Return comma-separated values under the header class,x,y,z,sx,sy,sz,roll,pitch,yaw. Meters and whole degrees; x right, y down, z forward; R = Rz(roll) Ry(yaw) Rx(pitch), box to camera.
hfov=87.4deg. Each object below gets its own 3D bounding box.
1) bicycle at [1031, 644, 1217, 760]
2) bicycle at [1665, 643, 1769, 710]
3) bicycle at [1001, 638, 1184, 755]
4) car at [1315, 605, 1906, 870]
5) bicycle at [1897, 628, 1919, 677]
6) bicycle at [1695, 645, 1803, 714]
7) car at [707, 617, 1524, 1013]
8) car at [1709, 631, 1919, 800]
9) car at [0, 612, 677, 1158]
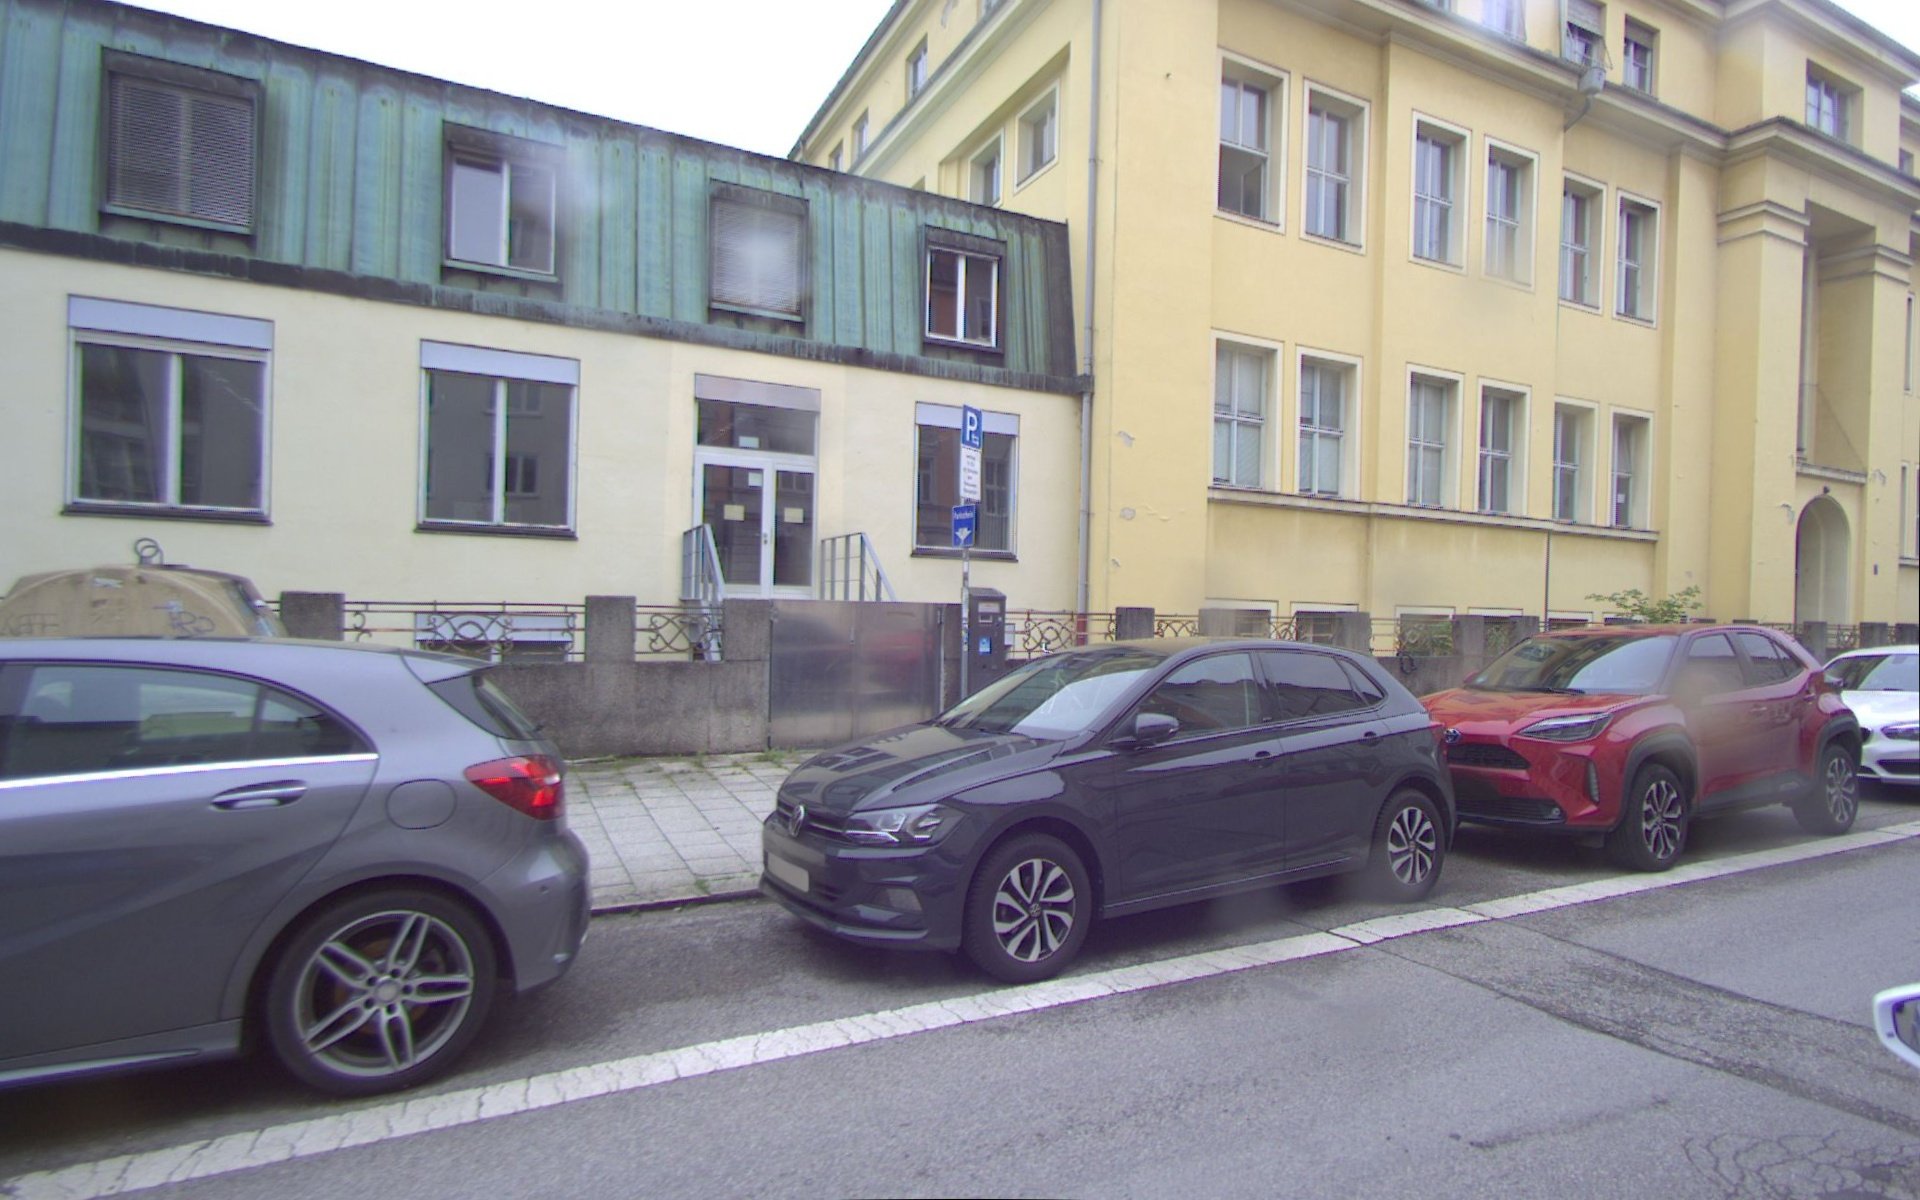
class,x,y,z,sx,sy,sz,roll,pitch,yaw
bicycle,1.817,1.082,10.990,2.079,1.163,0.533,2,0,-27
bicycle,12.771,1.291,16.947,1.613,1.077,0.537,2,0,-17
bicycle,1.508,1.046,11.232,2.079,1.201,0.533,2,0,-27
car,5.040,0.888,7.680,4.475,1.501,1.949,2,-3,-30
bicycle,25.573,1.388,26.163,0.520,1.285,1.621,1,-1,-25
bicycle,12.888,1.294,16.411,1.613,1.077,0.537,2,0,-17
car,0.989,0.868,5.498,4.304,1.423,1.741,2,-3,-31
car,9.962,1.101,10.392,4.608,1.448,1.787,2,-4,-29
car,-3.468,0.773,3.293,4.560,1.437,2.006,2,-3,-29
